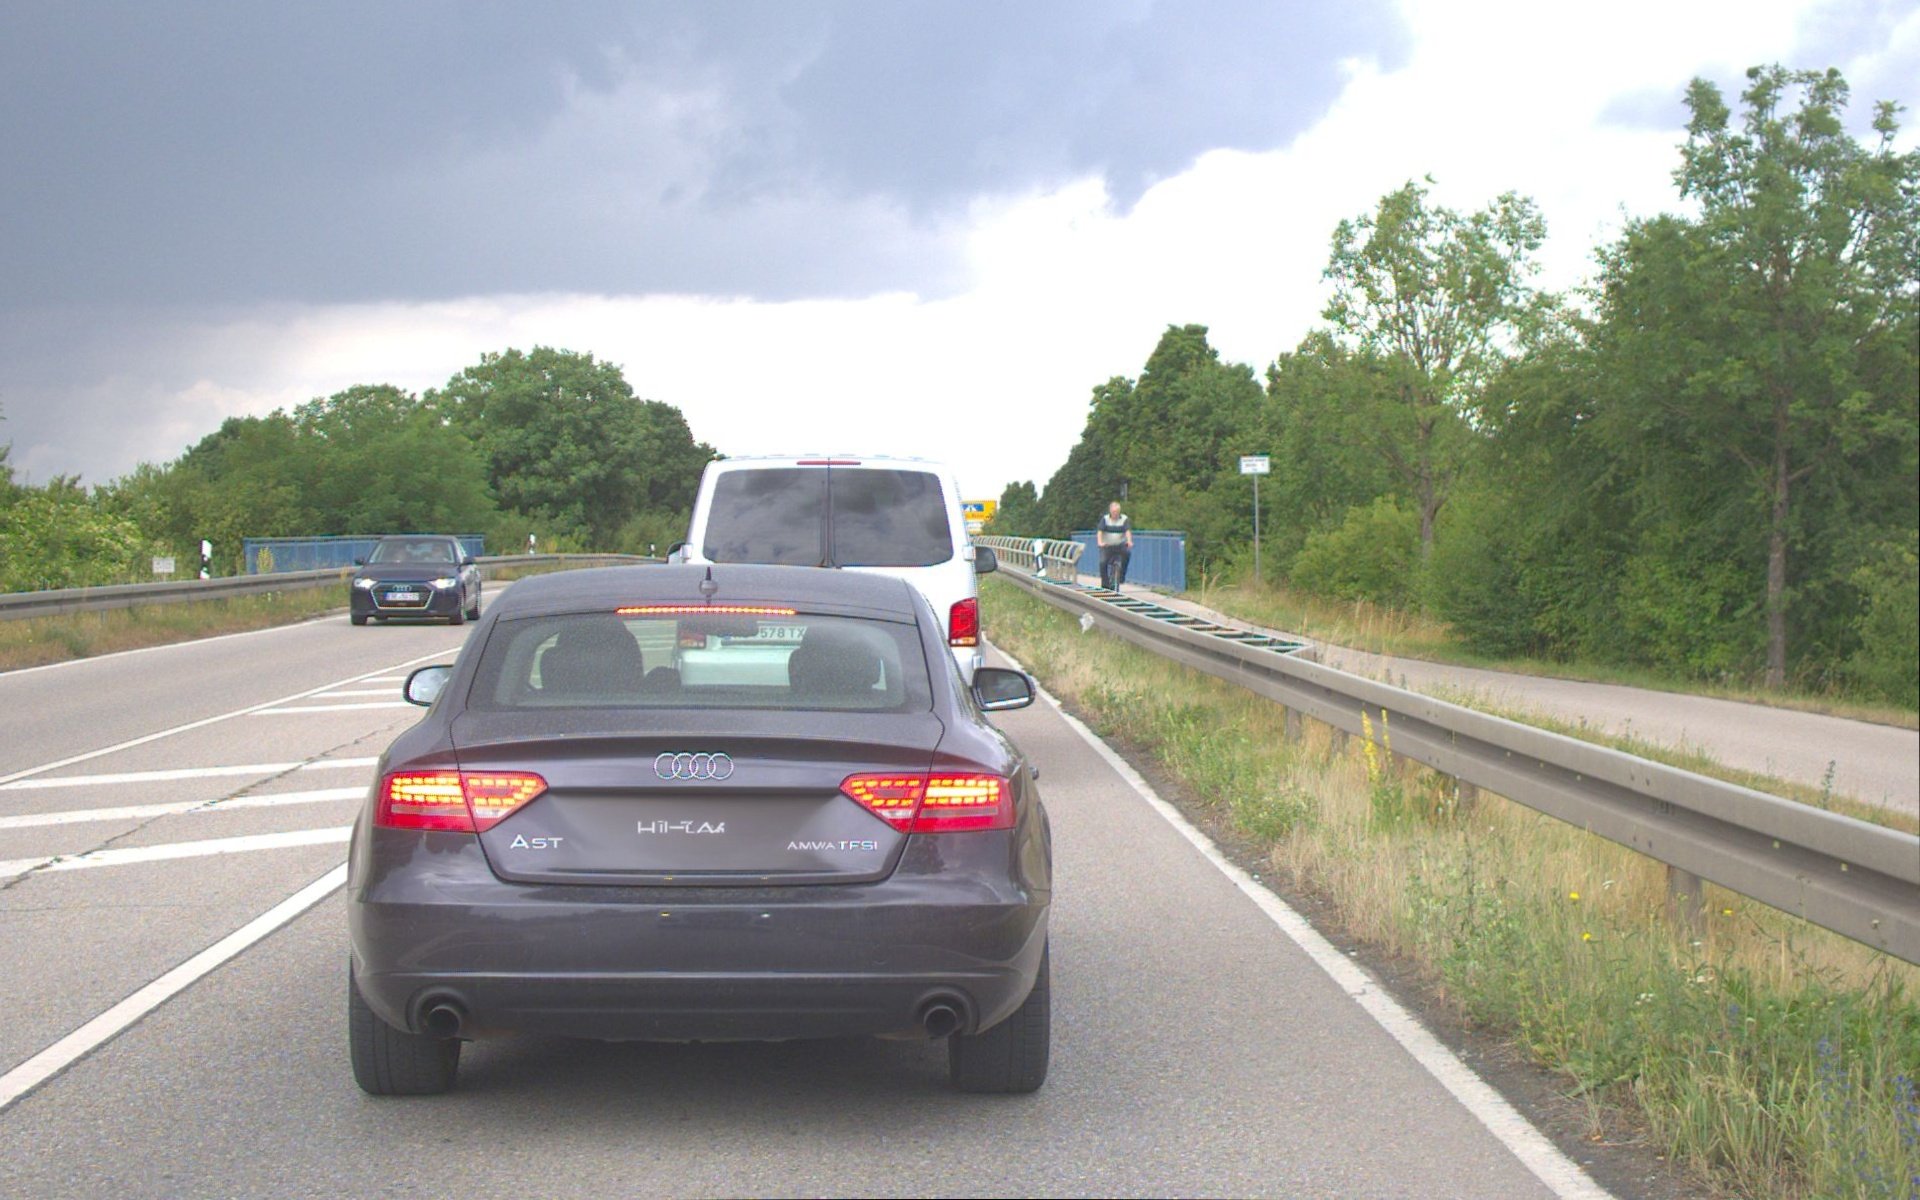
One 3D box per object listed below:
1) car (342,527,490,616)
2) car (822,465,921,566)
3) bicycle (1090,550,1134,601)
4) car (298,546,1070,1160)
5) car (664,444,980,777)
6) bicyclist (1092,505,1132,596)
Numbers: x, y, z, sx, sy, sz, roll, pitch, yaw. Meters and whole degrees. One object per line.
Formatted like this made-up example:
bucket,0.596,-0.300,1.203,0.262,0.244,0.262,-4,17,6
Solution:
car,-8.651,-0.486,54.981,1.862,1.371,4.001,0,1,-2
car,-2.266,-2.175,88.741,2.447,2.495,5.042,1,1,-1
bicycle,2.761,-0.454,62.553,0.666,0.917,1.830,-1,1,-1
car,-0.695,0.570,10.034,1.785,1.419,4.000,1,1,-1
car,-0.843,0.038,21.703,1.785,1.883,4.000,1,1,-1
bicyclist,2.759,-0.904,62.396,0.647,1.639,0.866,-1,1,-1
